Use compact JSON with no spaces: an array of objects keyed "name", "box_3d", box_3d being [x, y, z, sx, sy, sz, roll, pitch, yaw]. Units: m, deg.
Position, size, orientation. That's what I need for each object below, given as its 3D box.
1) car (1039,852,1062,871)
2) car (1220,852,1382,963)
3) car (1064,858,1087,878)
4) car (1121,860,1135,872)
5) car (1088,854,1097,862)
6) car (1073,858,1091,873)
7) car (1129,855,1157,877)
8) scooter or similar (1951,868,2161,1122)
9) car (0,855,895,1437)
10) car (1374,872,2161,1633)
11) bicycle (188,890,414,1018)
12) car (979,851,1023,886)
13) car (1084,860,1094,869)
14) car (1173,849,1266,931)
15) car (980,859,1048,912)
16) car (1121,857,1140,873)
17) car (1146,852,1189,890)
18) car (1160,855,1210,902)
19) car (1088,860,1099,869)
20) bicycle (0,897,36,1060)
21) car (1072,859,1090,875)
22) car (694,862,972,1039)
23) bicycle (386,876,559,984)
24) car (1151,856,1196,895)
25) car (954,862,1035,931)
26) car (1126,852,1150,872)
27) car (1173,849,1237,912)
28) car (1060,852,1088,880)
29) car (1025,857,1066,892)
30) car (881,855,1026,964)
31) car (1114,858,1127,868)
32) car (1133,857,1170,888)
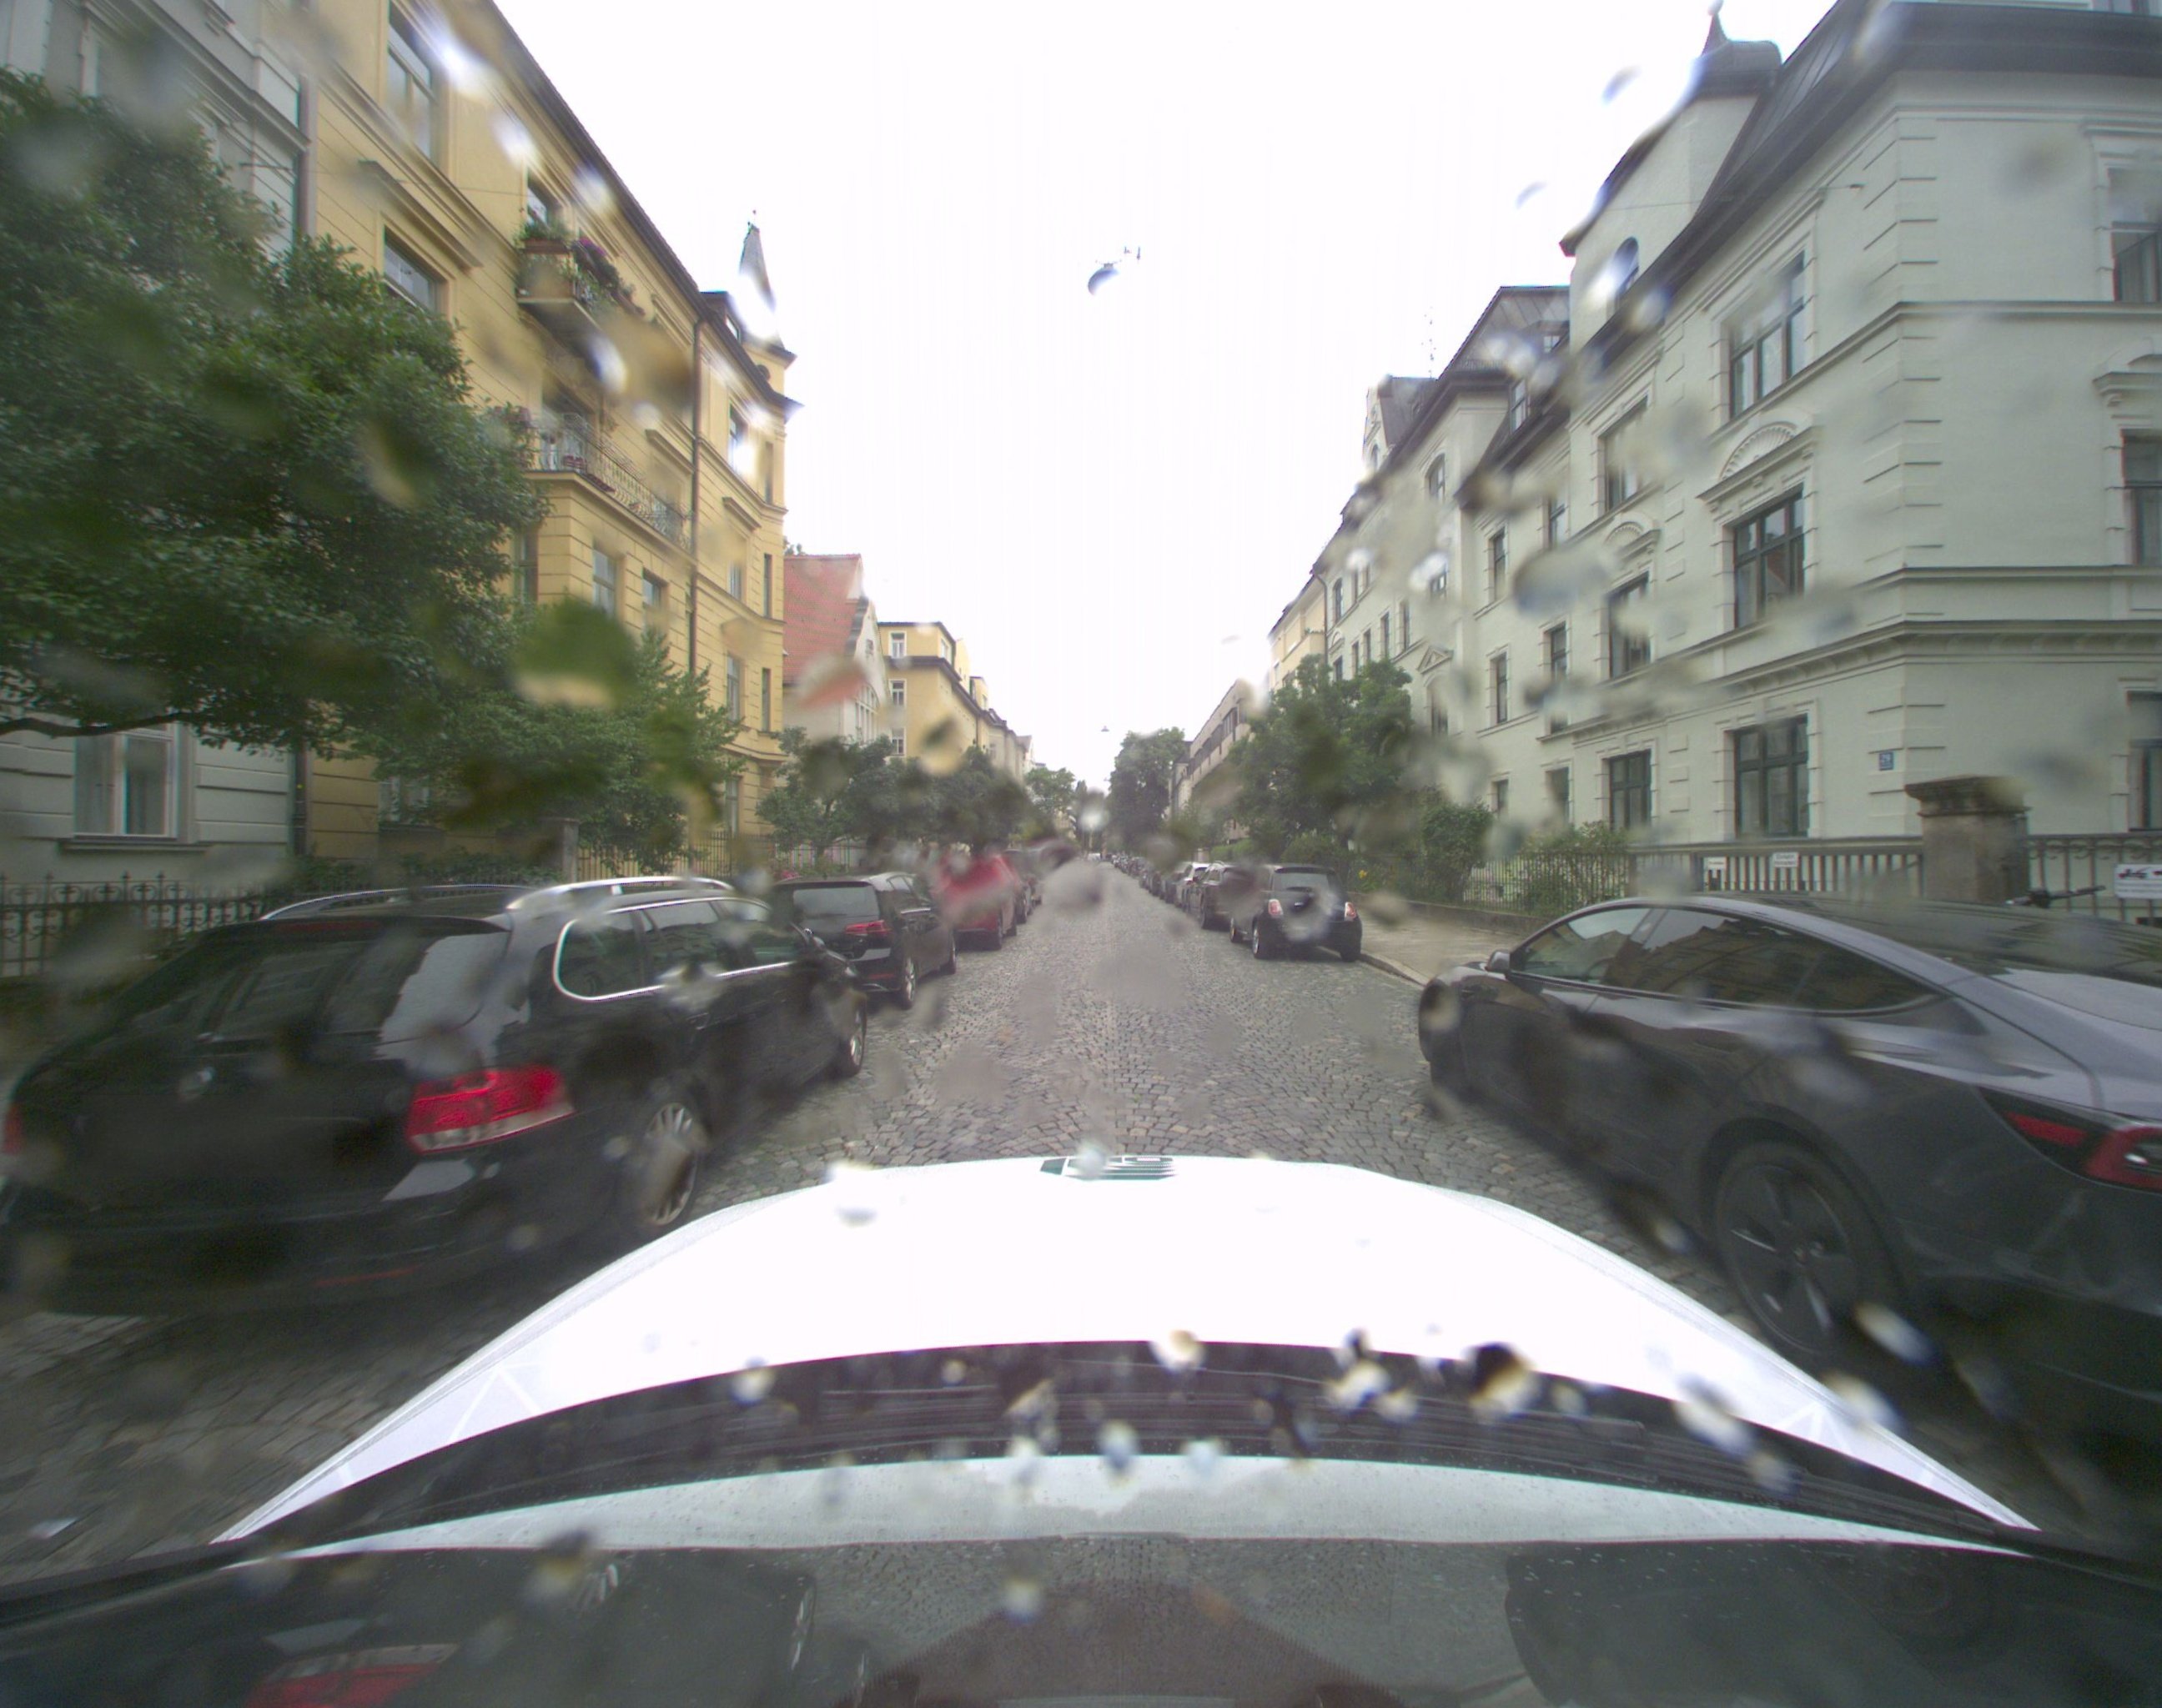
[{"name":"car","box_3d":[-2.994,0.767,79.551,1.915,1.635,3.739,-4,-1,1]},{"name":"car","box_3d":[3.644,0.820,14.251,1.914,1.635,4.049,1,-1,3]},{"name":"car","box_3d":[-0.475,1.238,73.805,1.915,1.635,3.739,-4,-1,1]},{"name":"car","box_3d":[7.179,1.875,124.913,1.915,1.635,3.739,-4,-1,1]},{"name":"car","box_3d":[2.670,0.805,182.887,1.915,1.635,3.739,-4,-1,1]},{"name":"car","box_3d":[0.152,1.408,98.799,1.915,1.635,3.739,-4,-1,1]},{"name":"car","box_3d":[5.040,0.972,66.822,1.915,1.635,3.739,-4,-1,1]},{"name":"scooter or similar","box_3d":[6.237,0.777,5.084,0.622,1.333,1.613,-4,-2,31]},{"name":"car","box_3d":[-2.489,0.864,4.481,1.720,1.540,4.337,-4,-1,1]},{"name":"car","box_3d":[3.175,0.867,3.994,1.914,1.434,4.804,2,0,3]},{"name":"bicycle","box_3d":[-7.435,0.900,7.887,0.416,1.027,1.765,0,-1,2]},{"name":"car","box_3d":[-3.946,0.714,40.592,1.773,1.635,3.738,-1,-1,0]},{"name":"car","box_3d":[1.732,2.220,168.277,1.915,1.635,3.739,-4,-1,1]},{"name":"car","box_3d":[3.011,0.752,18.345,1.653,1.635,3.542,-2,-1,3]},{"name":"car","box_3d":[-2.085,0.963,26.246,1.653,1.534,3.487,-2,-1,3]},{"name":"car","box_3d":[5.527,1.253,91.292,1.915,1.635,3.739,-4,-1,1]},{"name":"car","box_3d":[4.154,0.830,39.560,1.655,1.635,3.447,-4,-1,0]},{"name":"car","box_3d":[3.732,0.861,29.484,1.589,1.502,3.267,-4,-1,5]},{"name":"car","box_3d":[2.376,1.915,150.126,1.915,1.635,3.739,-4,-1,1]},{"name":"bicycle","box_3d":[-7.599,0.851,4.806,0.369,1.102,1.836,0,0,6]},{"name":"car","box_3d":[0.033,1.450,93.641,1.915,1.635,3.739,-4,-1,1]},{"name":"car","box_3d":[-2.639,0.943,9.761,1.915,1.546,4.001,-4,-1,1]},{"name":"bicycle","box_3d":[-7.178,0.845,9.722,0.415,1.143,1.771,0,-1,14]},{"name":"car","box_3d":[3.870,0.892,34.542,1.653,1.456,3.452,-4,-1,4]},{"name":"car","box_3d":[-2.034,0.980,19.747,1.426,1.460,2.652,-4,-1,3]},{"name":"car","box_3d":[5.198,0.755,74.771,1.915,1.635,3.739,-4,-1,1]},{"name":"car","box_3d":[3.715,0.759,24.647,1.651,1.635,3.455,-4,-1,7]},{"name":"car","box_3d":[-0.496,0.885,60.830,1.915,1.839,3.739,-4,-1,1]},{"name":"car","box_3d":[-1.712,0.989,40.050,1.916,1.635,3.737,-1,-1,-1]},{"name":"car","box_3d":[-2.212,0.933,15.249,1.915,1.635,3.807,-4,-1,1]},{"name":"car","box_3d":[6.913,1.589,142.250,1.915,1.635,3.739,-4,-1,1]},{"name":"car","box_3d":[3.813,0.999,44.606,1.655,1.465,3.447,-4,-1,0]}]
